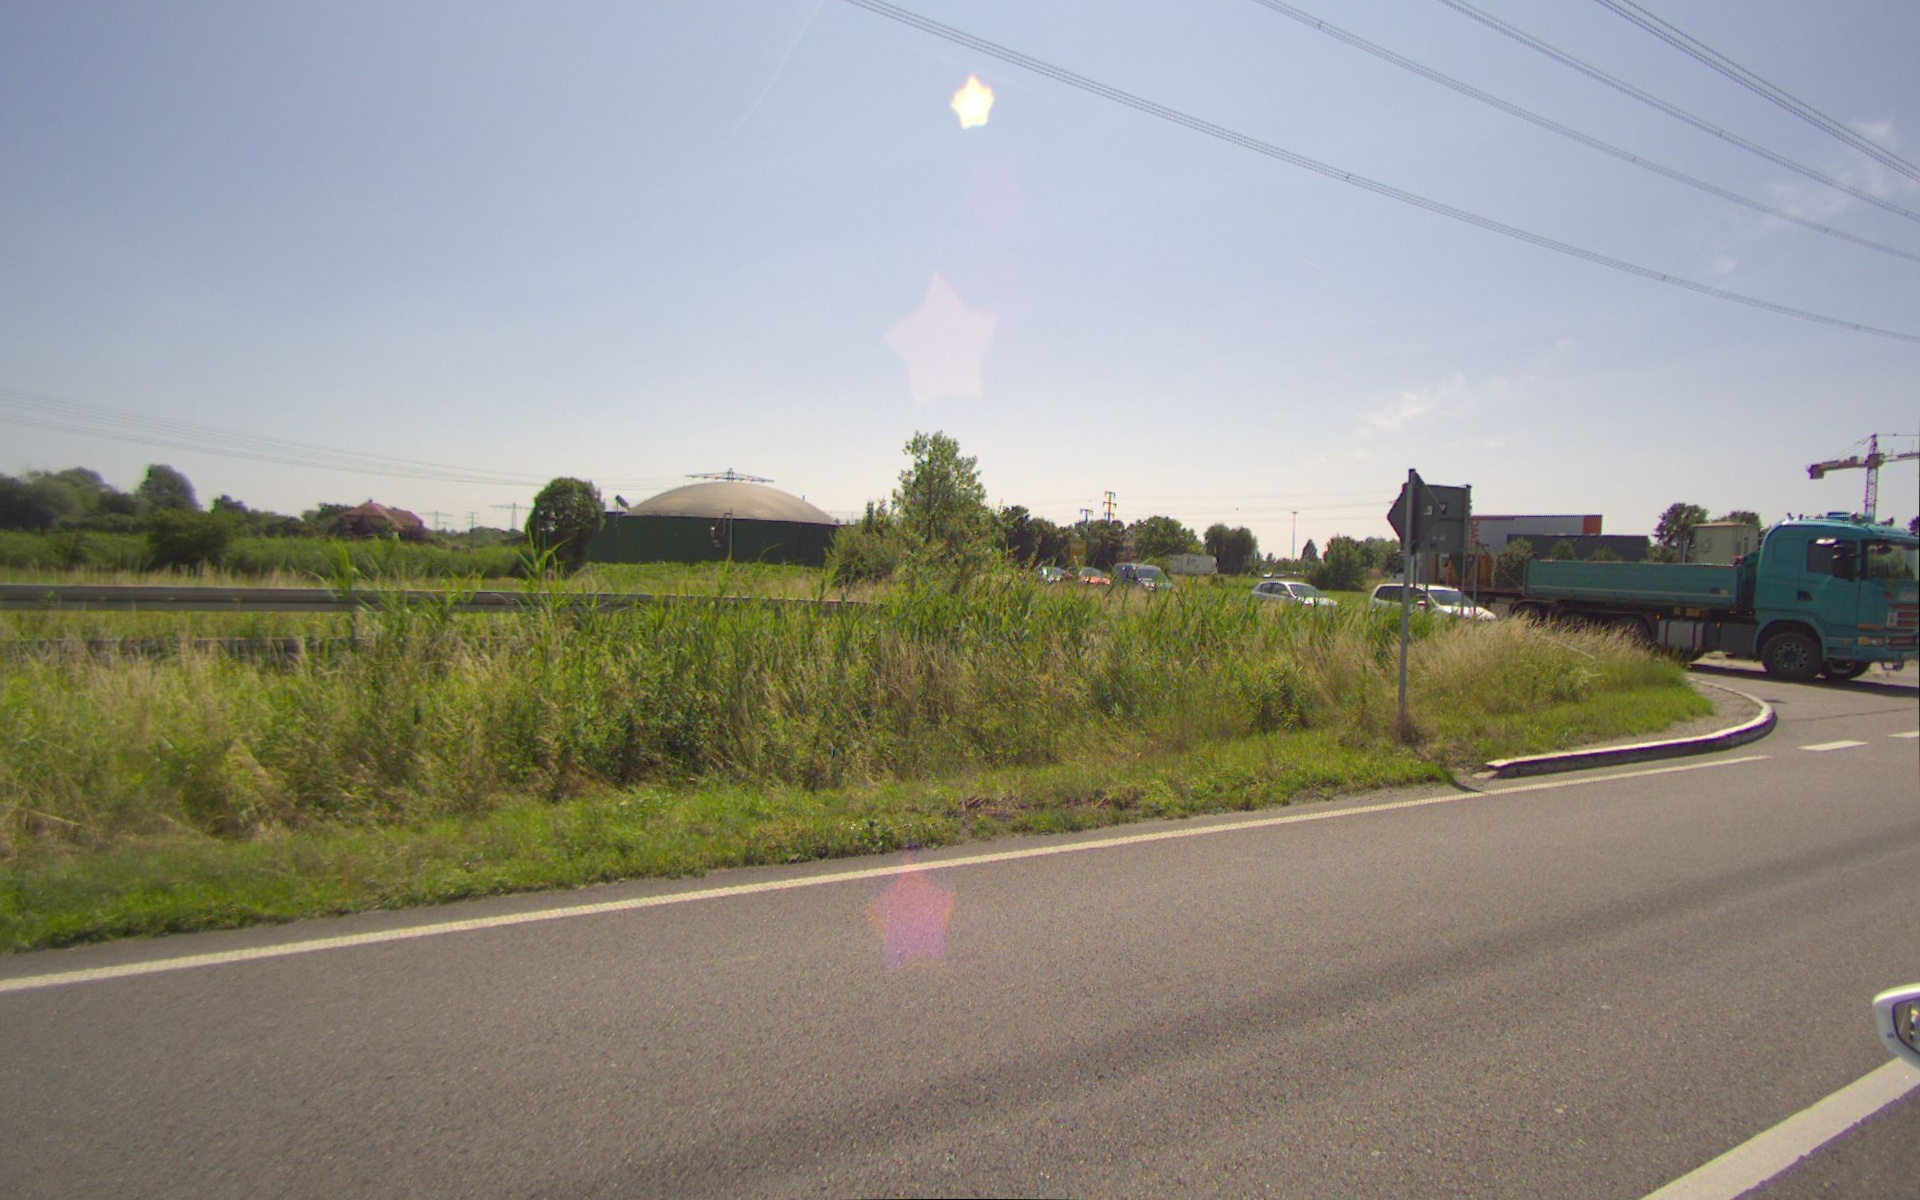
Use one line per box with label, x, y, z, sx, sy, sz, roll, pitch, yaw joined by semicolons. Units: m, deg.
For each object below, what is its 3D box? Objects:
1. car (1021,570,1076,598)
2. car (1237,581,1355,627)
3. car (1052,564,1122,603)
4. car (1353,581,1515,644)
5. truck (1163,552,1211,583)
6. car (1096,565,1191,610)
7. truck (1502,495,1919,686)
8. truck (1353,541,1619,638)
car;5.124;-0.963;58.739;1.754;1.498;3.983;1;2;-18
car;12.033;0.103;36.284;1.691;1.490;4.427;1;1;-18
car;6.617;-0.894;52.987;1.886;1.874;4.464;1;2;-18
car;14.244;0.319;30.492;1.935;1.634;4.541;1;2;-15
truck;38.825;-5.493;171.187;3.626;4.708;13.206;3;1;32
car;8.407;-0.610;46.495;2.057;1.893;4.927;0;3;-21
truck;17.480;-0.372;23.954;2.466;3.785;7.874;1;3;-27
truck;20.140;-0.449;39.432;2.789;3.332;9.645;0;1;-23
